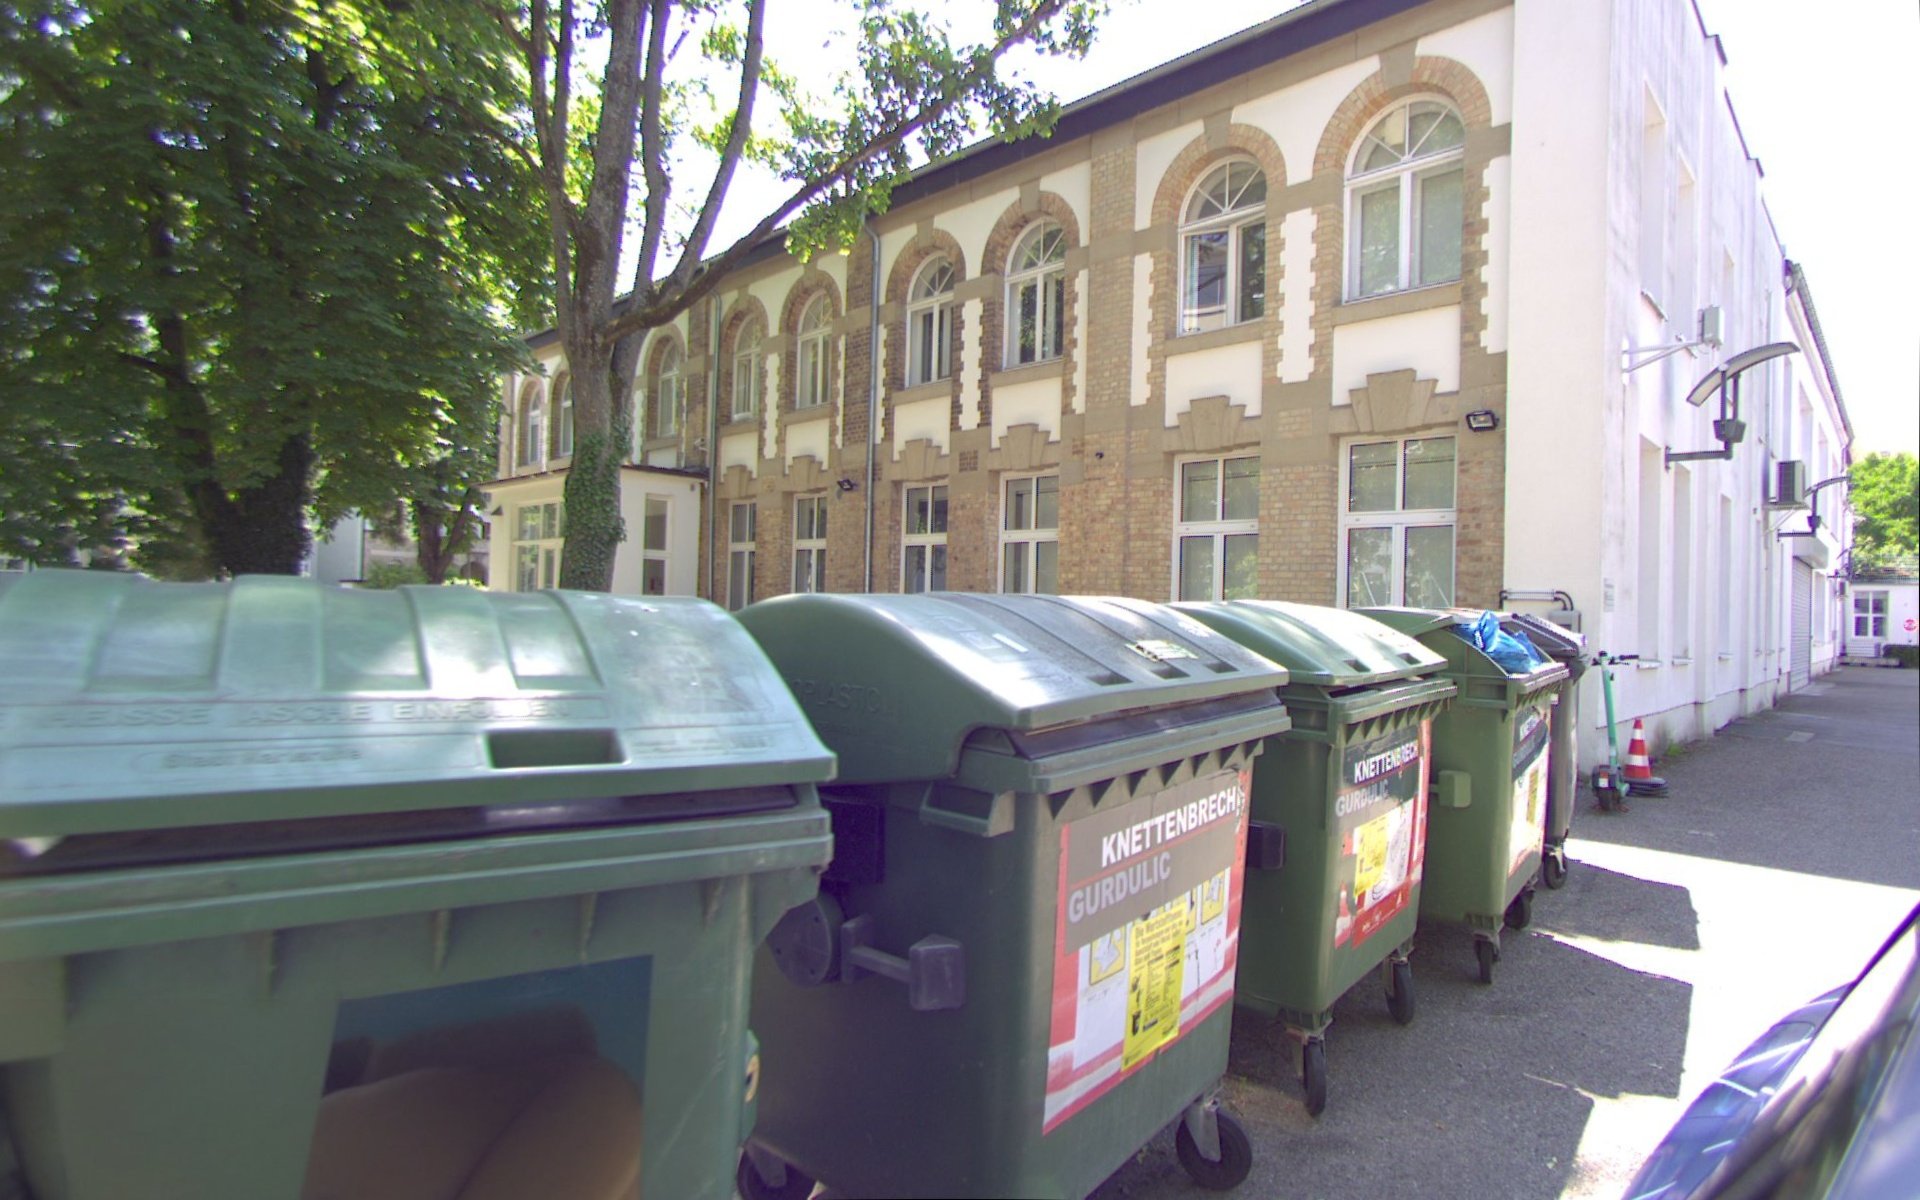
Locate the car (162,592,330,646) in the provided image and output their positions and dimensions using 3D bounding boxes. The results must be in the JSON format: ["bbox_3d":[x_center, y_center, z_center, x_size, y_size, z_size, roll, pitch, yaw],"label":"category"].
[{"bbox_3d":[-21.231,0.531,30.281,1.682,1.482,3.917,1,0,16],"label":"car"}]

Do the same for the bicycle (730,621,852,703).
[{"bbox_3d":[-2.548,0.910,15.388,0.588,1.157,1.812,0,-1,45],"label":"bicycle"}]

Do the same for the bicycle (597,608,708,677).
[{"bbox_3d":[-5.436,0.738,17.956,0.588,1.157,1.812,0,-1,45],"label":"bicycle"}]

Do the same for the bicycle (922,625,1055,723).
[{"bbox_3d":[0.383,0.887,12.478,0.521,1.117,1.805,0,-2,45],"label":"bicycle"}]

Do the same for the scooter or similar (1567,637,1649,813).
[{"bbox_3d":[4.996,0.903,7.776,0.462,1.188,1.340,1,0,35],"label":"scooter or similar"}]

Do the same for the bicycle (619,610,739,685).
[{"bbox_3d":[-4.626,0.763,16.726,1.809,1.157,0.589,2,-1,-41],"label":"bicycle"}]

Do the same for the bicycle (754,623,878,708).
[{"bbox_3d":[-2.094,0.930,14.943,0.588,1.157,1.812,0,-1,45],"label":"bicycle"}]

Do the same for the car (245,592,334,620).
[{"bbox_3d":[-32.279,0.277,48.779,3.270,1.307,1.501,1,0,-17],"label":"car"}]

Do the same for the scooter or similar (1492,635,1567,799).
[{"bbox_3d":[4.629,0.902,8.272,0.460,1.188,1.244,1,0,26],"label":"scooter or similar"}]

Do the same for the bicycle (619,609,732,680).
[{"bbox_3d":[-4.881,0.744,17.456,0.588,1.157,1.812,0,-1,45],"label":"bicycle"}]

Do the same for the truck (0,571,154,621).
[{"bbox_3d":[-34.445,-0.154,39.437,4.552,1.856,1.657,0,0,-31],"label":"truck"}]

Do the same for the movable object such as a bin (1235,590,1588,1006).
[{"bbox_3d":[2.041,0.706,4.514,1.176,1.488,1.293,0,0,38],"label":"movable object such as a bin"}]

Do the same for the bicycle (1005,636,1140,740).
[{"bbox_3d":[1.315,0.965,11.588,0.503,1.081,1.805,0,-1,45],"label":"bicycle"}]

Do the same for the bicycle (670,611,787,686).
[{"bbox_3d":[-3.764,0.774,16.575,0.588,1.157,1.812,0,-1,45],"label":"bicycle"}]

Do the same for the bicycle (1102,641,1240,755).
[{"bbox_3d":[2.258,0.984,10.665,0.503,1.081,1.805,0,-1,45],"label":"bicycle"}]

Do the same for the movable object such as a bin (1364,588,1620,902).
[{"bbox_3d":[3.112,0.702,5.857,1.151,1.524,1.444,0,0,35],"label":"movable object such as a bin"}]

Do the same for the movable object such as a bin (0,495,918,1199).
[{"bbox_3d":[-0.926,0.657,1.408,1.307,1.488,1.183,0,0,-35],"label":"movable object such as a bin"}]

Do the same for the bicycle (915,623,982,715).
[{"bbox_3d":[-0.120,0.869,13.370,0.465,1.117,1.828,1,-1,12],"label":"bicycle"}]

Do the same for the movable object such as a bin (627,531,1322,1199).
[{"bbox_3d":[0.084,0.630,2.490,1.177,1.488,1.293,0,0,39],"label":"movable object such as a bin"}]

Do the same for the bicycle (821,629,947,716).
[{"bbox_3d":[-1.011,0.956,13.832,0.521,1.083,1.805,0,-1,45],"label":"bicycle"}]

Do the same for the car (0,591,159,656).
[{"bbox_3d":[-22.791,0.546,25.425,1.682,1.482,3.917,1,0,16],"label":"car"}]

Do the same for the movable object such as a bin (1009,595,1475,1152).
[{"bbox_3d":[1.030,0.731,3.598,1.177,1.488,1.292,0,0,40],"label":"movable object such as a bin"}]

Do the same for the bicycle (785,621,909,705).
[{"bbox_3d":[-1.574,0.863,14.359,0.521,1.114,1.812,0,-1,45],"label":"bicycle"}]

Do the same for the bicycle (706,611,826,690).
[{"bbox_3d":[-3.015,0.766,15.836,0.588,1.157,1.812,0,-1,45],"label":"bicycle"}]

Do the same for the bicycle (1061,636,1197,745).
[{"bbox_3d":[1.887,0.949,11.096,0.503,1.081,1.805,0,-1,45],"label":"bicycle"}]
